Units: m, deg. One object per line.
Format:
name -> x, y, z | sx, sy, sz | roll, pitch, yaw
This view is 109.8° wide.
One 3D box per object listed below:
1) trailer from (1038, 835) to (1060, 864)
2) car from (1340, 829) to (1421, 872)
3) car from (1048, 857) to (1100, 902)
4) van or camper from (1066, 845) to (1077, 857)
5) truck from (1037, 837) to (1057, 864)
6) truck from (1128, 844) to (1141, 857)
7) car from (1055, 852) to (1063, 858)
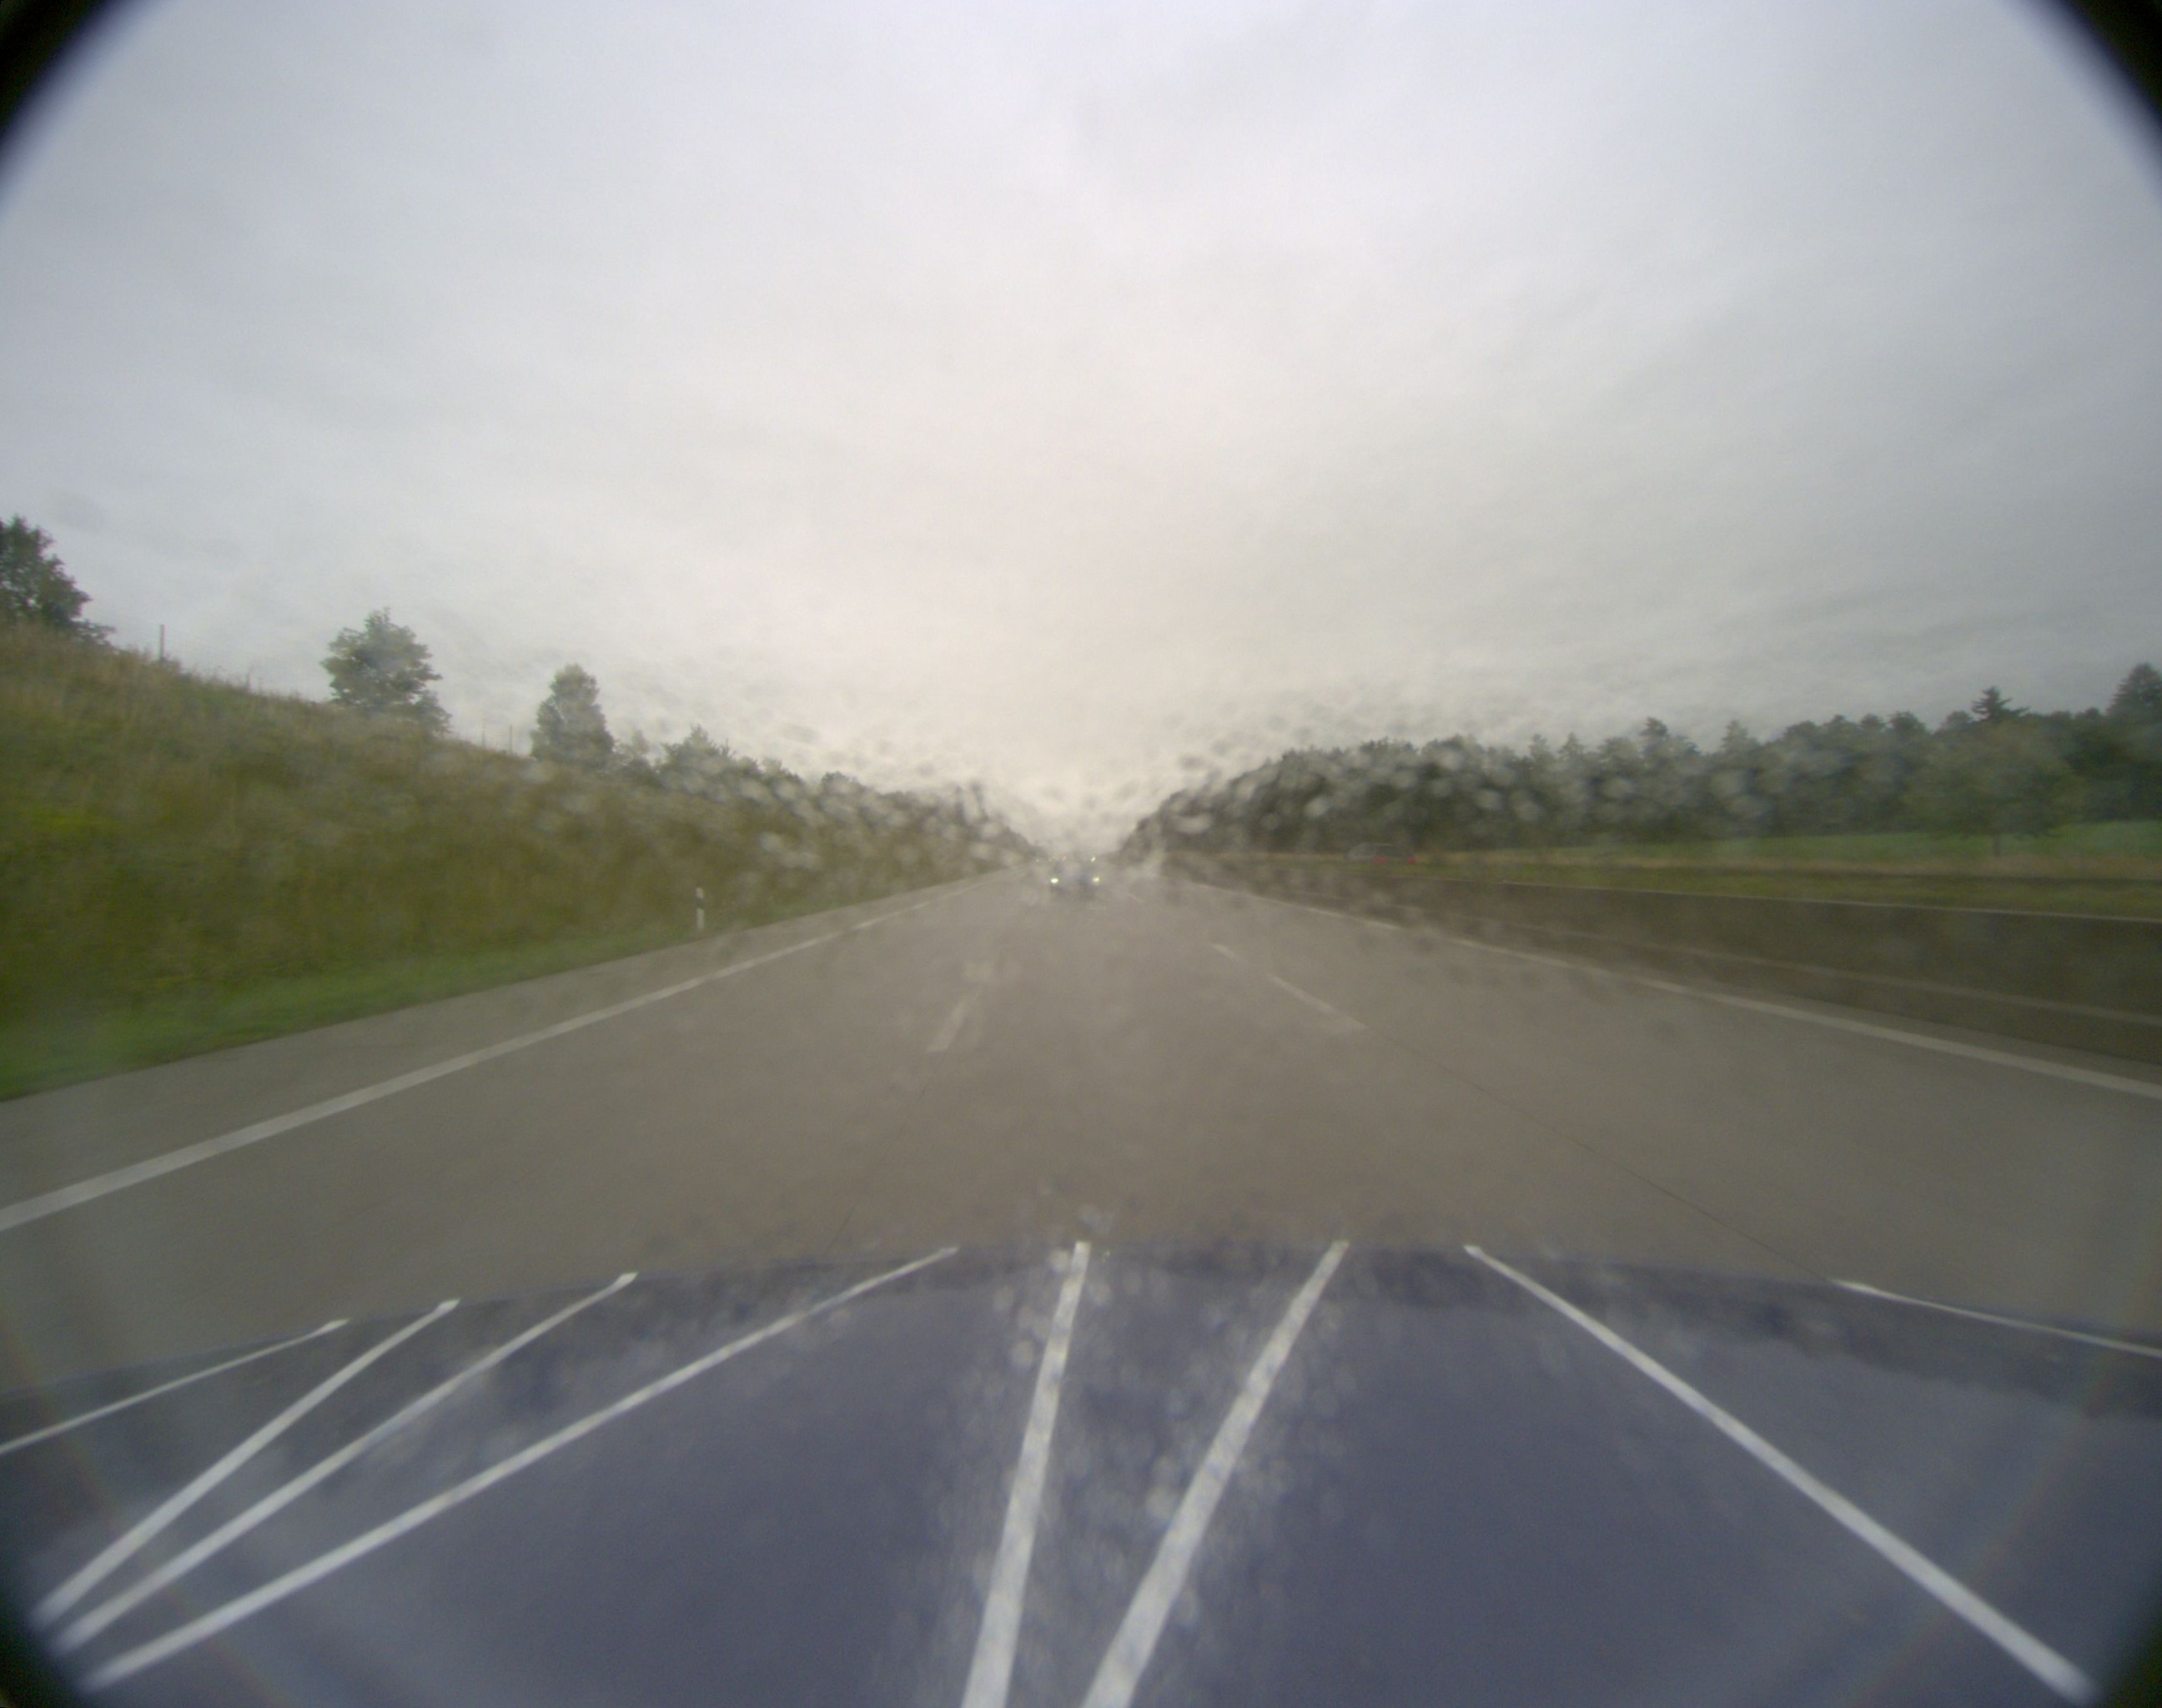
trailer -> -5.172, -0.606, 126.338 | 2.713, 4.353, 15.205 | -3, 0, 0
car -> 12.580, -0.146, 32.131 | 1.677, 1.637, 4.065 | -2, 0, -2
car -> -0.235, 0.860, 28.022 | 1.734, 1.450, 4.672 | -1, 0, 0
van or camper -> -2.158, -0.637, 179.843 | 2.233, 2.537, 7.948 | 3, 2, 1
truck -> -5.245, -0.475, 118.649 | 2.643, 3.930, 5.686 | -3, 0, 0
truck -> 16.297, -0.987, 231.978 | 2.910, 3.833, 12.449 | -1, 0, -1
car -> -6.917, 0.303, 239.610 | 1.998, 1.575, 5.954 | -3, -1, 0
